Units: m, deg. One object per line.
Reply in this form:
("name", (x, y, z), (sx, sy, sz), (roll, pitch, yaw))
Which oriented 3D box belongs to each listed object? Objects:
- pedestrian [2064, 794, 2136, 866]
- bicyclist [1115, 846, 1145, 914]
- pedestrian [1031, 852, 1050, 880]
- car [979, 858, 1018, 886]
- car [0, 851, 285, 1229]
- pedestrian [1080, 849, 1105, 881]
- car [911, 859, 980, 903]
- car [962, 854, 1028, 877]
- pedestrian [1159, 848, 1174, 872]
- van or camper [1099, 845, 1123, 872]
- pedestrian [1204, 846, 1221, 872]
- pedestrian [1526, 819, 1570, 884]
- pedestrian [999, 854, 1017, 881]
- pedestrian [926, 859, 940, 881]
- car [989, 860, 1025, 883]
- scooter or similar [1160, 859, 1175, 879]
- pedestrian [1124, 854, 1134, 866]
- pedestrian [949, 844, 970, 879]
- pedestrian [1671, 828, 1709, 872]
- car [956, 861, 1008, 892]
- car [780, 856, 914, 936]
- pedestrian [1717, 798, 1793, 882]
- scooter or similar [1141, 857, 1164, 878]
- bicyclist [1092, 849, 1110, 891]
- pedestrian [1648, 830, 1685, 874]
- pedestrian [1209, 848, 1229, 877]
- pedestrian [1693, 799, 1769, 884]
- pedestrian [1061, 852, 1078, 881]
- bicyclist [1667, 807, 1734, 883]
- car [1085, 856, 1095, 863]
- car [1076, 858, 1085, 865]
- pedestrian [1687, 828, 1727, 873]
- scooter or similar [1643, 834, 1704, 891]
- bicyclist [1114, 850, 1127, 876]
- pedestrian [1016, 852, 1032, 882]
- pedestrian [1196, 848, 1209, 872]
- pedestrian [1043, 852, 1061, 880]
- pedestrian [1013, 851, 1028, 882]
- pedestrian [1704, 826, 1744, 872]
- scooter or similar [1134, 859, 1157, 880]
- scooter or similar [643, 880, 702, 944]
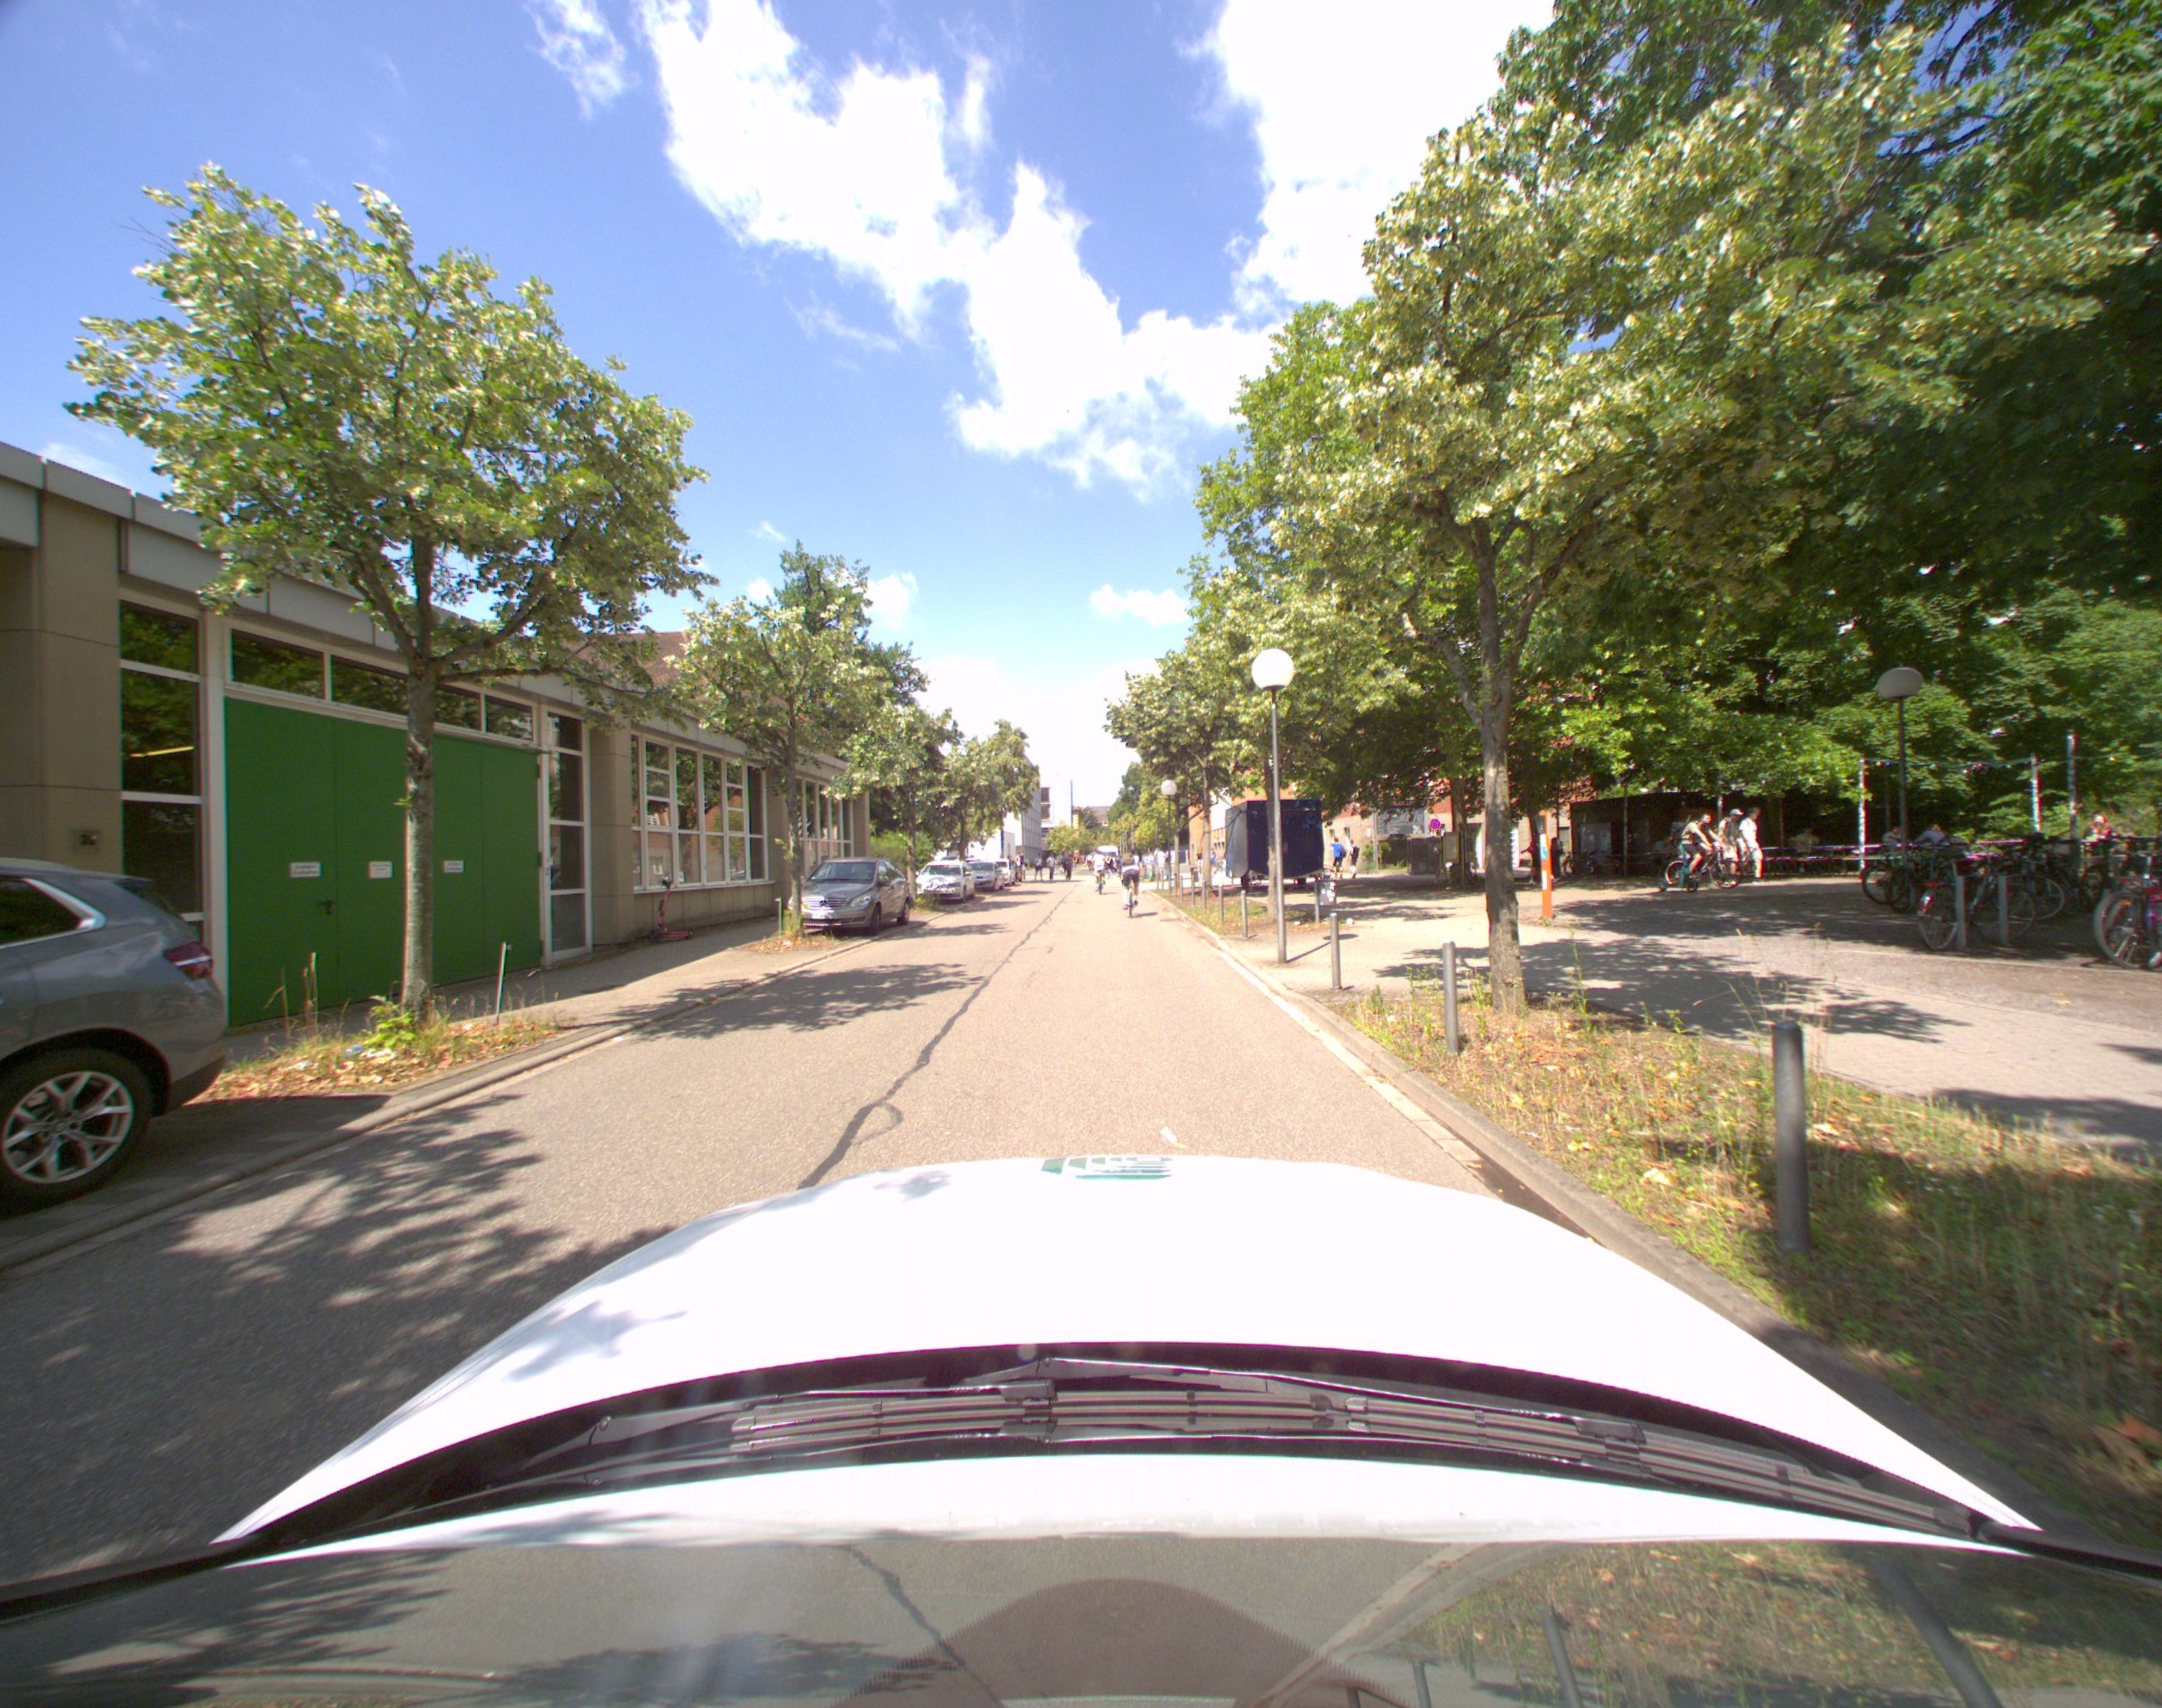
("pedestrian", (23.452, -0.552, 18.756), (0.665, 1.581, 0.718), (-5, 0, -3))
("bicyclist", (1.248, 0.641, 20.577), (0.714, 1.662, 1.096), (0, -1, 4))
("pedestrian", (-2.576, 0.771, 51.747), (0.971, 1.739, 0.705), (0, -1, 41))
("car", (-4.390, 0.947, 43.857), (1.656, 1.412, 3.808), (0, 0, 1))
("car", (-5.546, 0.791, 2.482), (1.816, 1.632, 4.515), (0, 0, -1))
("pedestrian", (0.711, 0.645, 49.102), (1.102, 1.859, 0.860), (-3, 0, 41))
("car", (-4.748, 0.911, 29.160), (1.720, 1.456, 4.582), (0, 0, 0))
("car", (-6.406, 0.870, 60.657), (4.471, 1.619, 1.932), (1, -1, 16))
("pedestrian", (6.102, 0.428, 57.974), (0.952, 1.694, 0.707), (1, 2, 11))
("van or camper", (2.919, 0.418, 78.834), (1.984, 2.446, 4.574), (-2, -1, 4))
("pedestrian", (9.139, 0.351, 56.633), (0.711, 1.787, 0.746), (-7, 2, -24))
("pedestrian", (13.869, -0.072, 24.229), (0.762, 1.855, 0.824), (-3, -1, 1))
("pedestrian", (-4.917, 0.900, 54.843), (0.794, 1.772, 0.859), (2, 1, 26))
("pedestrian", (-12.010, 1.290, 66.232), (0.978, 1.785, 0.669), (-1, -2, 1))
("car", (-4.483, 1.049, 50.064), (1.638, 1.300, 3.930), (-2, 0, 3))
("scooter or similar", (5.277, 0.900, 49.483), (0.643, 1.160, 1.270), (-2, 0, 17))
("pedestrian", (8.542, 1.007, 144.530), (1.495, 1.996, 1.646), (-5, 0, -1))
("pedestrian", (-6.372, 0.417, 42.596), (0.711, 1.717, 1.100), (6, -5, -23))
("pedestrian", (19.605, -0.128, 26.216), (0.568, 1.346, 0.728), (-5, 0, -3))
("car", (-4.514, 0.993, 37.700), (1.718, 1.344, 4.168), (0, 0, 3))
("car", (-4.942, 0.827, 17.783), (1.752, 1.556, 4.112), (0, 0, 0))
("pedestrian", (16.453, -0.333, 19.894), (0.835, 1.949, 1.072), (-4, 0, -19))
("scooter or similar", (4.541, 0.868, 51.862), (1.248, 1.265, 0.644), (-2, 0, 33))
("bicyclist", (0.849, 0.657, 34.630), (0.768, 1.756, 0.848), (1, 0, 1))
("pedestrian", (18.798, -0.060, 26.171), (0.568, 1.346, 0.728), (-5, 0, -3))
("pedestrian", (8.103, 0.493, 47.864), (0.872, 1.638, 0.949), (-5, 0, 2))
("pedestrian", (15.618, -0.291, 19.595), (0.835, 1.949, 1.072), (-4, 0, -19))
("pedestrian", (-0.725, 0.786, 50.548), (0.703, 1.720, 0.987), (3, -2, -20))
("bicyclist", (14.655, -0.208, 19.294), (0.531, 1.729, 1.072), (-4, 0, -19))
("car", (2.100, 1.181, 181.669), (1.787, 1.530, 4.006), (-2, 0, 5))
("car", (-0.104, 1.707, 181.993), (1.787, 1.530, 4.006), (-2, 0, 5))
("pedestrian", (19.443, -0.105, 25.307), (0.568, 1.346, 0.728), (-5, 0, -3))
("scooter or similar", (13.389, 0.197, 18.424), (0.422, 1.219, 1.295), (-2, -1, 2))
("bicyclist", (2.646, 0.610, 54.586), (0.805, 1.756, 0.693), (-1, -1, 2))
("pedestrian", (-3.892, 0.871, 55.467), (0.818, 1.980, 0.696), (2, 1, 26))
("pedestrian", (8.390, 0.419, 56.302), (0.504, 1.630, 0.566), (-7, 2, -24))
("pedestrian", (-1.886, 0.767, 52.346), (0.897, 1.739, 0.683), (-1, 0, 39))
("pedestrian", (-4.063, 0.833, 54.430), (0.620, 1.980, 0.821), (-2, -2, -30))
("pedestrian", (20.017, -0.154, 25.362), (0.568, 1.346, 0.728), (-5, 0, -3))
("scooter or similar", (3.970, 0.946, 50.223), (1.248, 1.265, 0.655), (-2, 0, 33))
("scooter or similar", (-8.000, 1.108, 15.996), (0.503, 1.169, 1.216), (0, 0, 2))
